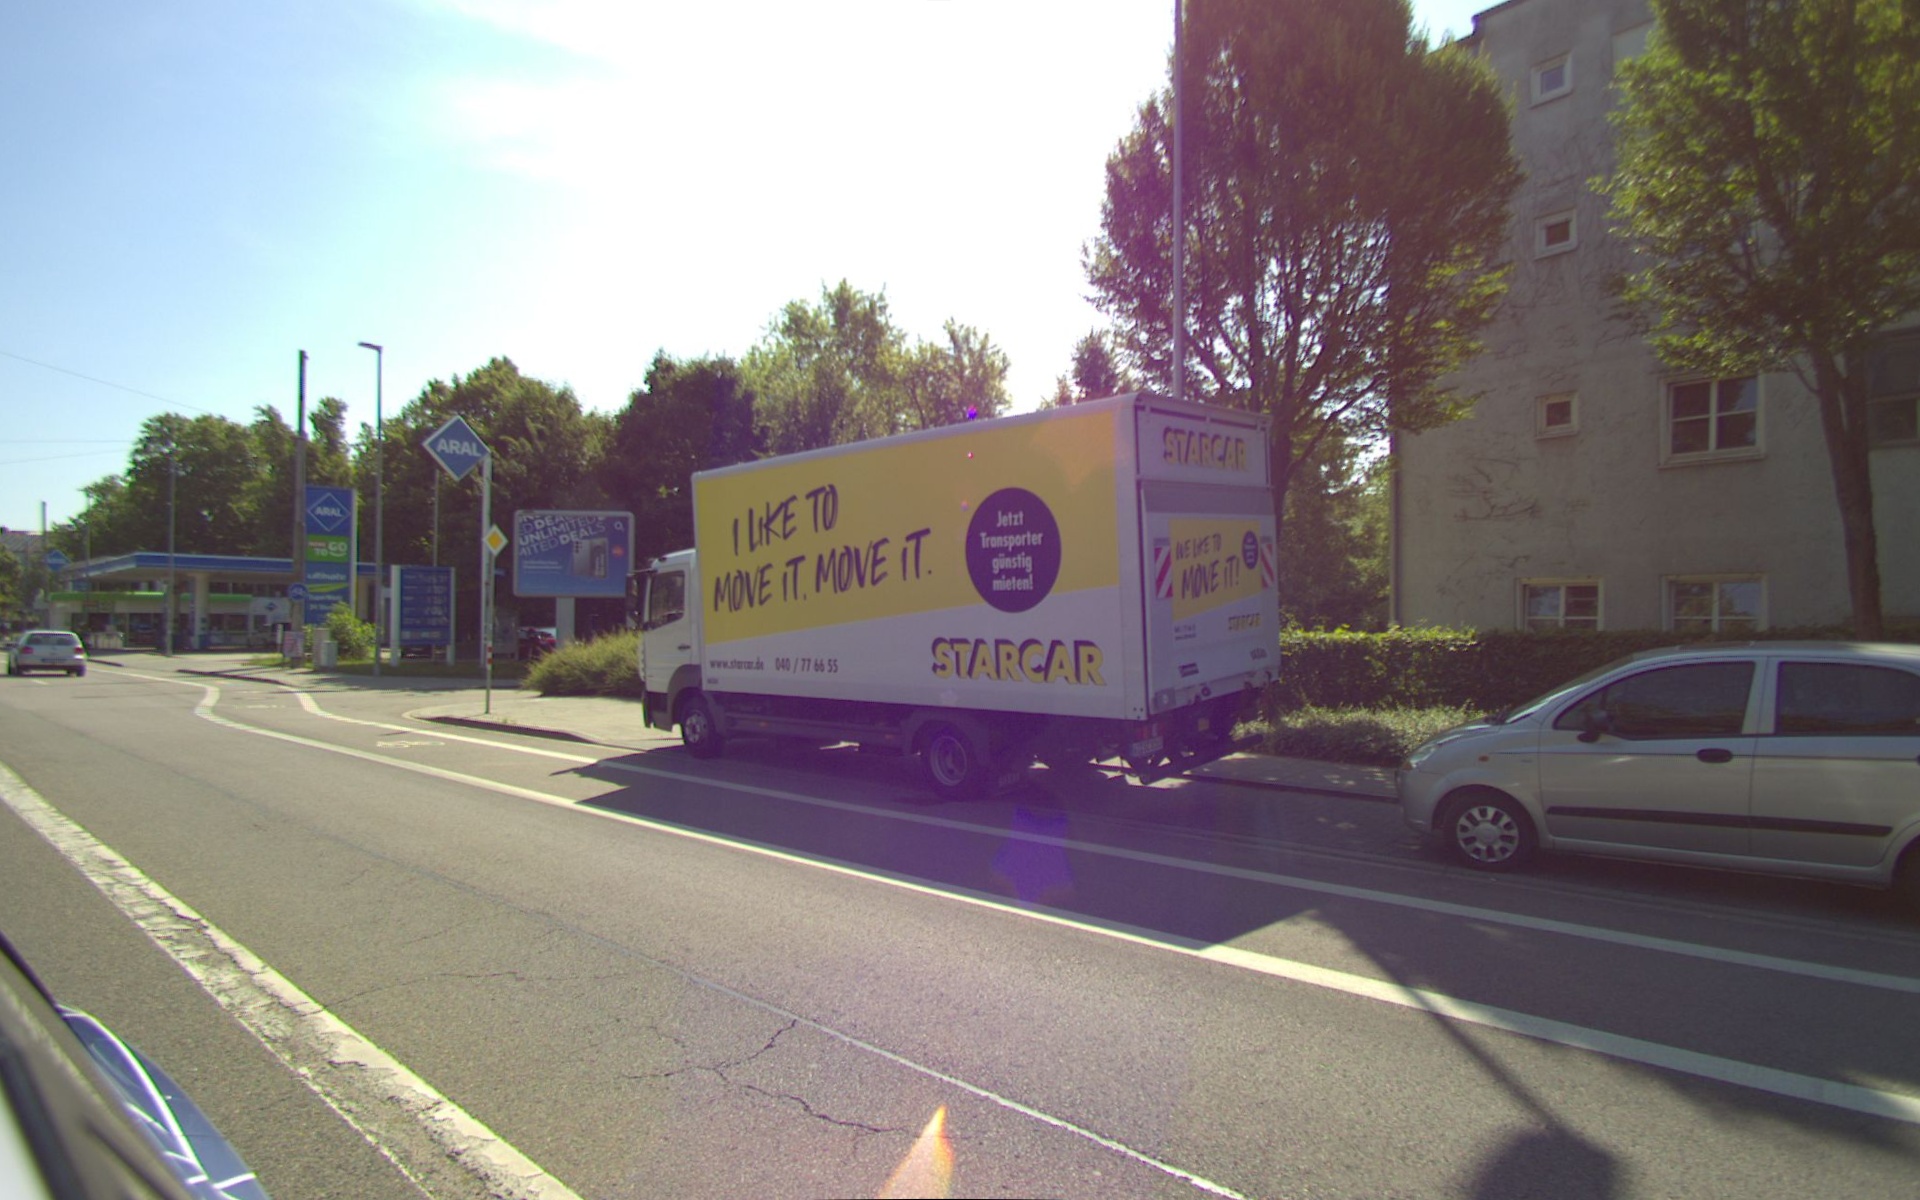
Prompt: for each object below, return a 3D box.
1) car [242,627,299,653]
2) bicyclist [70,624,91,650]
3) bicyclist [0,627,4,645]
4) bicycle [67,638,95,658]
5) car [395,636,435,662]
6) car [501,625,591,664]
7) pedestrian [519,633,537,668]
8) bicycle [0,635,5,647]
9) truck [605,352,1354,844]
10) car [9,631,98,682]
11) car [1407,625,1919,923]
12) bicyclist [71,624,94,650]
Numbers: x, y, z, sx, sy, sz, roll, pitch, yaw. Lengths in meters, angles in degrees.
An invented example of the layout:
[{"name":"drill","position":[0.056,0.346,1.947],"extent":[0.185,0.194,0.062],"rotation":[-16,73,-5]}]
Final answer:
[{"name":"car","position":[-49.584,2.884,72.695],"extent":[5.959,1.795,1.825],"rotation":[-2,-3,40]},{"name":"bicyclist","position":[-49.370,2.091,56.814],"extent":[0.832,1.447,0.837],"rotation":[-4,-3,43]},{"name":"bicyclist","position":[-94.143,3.530,98.953],"extent":[0.826,1.687,0.826],"rotation":[-4,-3,40]},{"name":"bicycle","position":[-48.884,2.653,56.290],"extent":[2.771,1.103,0.816],"rotation":[-1,-3,42]},{"name":"car","position":[-30.191,2.695,56.145],"extent":[1.774,1.356,4.257],"rotation":[1,-2,-26]},{"name":"car","position":[-17.963,1.948,43.801],"extent":[4.515,1.582,1.781],"rotation":[-3,-4,41]},{"name":"pedestrian","position":[-18.228,2.127,42.692],"extent":[0.500,1.492,0.493],"rotation":[-2,-3,41]},{"name":"bicycle","position":[-94.246,4.048,99.042],"extent":[2.211,1.184,0.927],"rotation":[-2,-3,43]},{"name":"truck","position":[-0.486,0.060,11.168],"extent":[8.587,3.557,2.639],"rotation":[-2,-1,42]},{"name":"car","position":[-27.556,1.705,30.714],"extent":[4.310,1.431,1.640],"rotation":[-2,-4,44]},{"name":"car","position":[4.931,0.929,6.291],"extent":[3.633,1.495,1.593],"rotation":[-1,-1,40]},{"name":"bicyclist","position":[-48.774,2.046,56.248],"extent":[0.833,1.447,0.837],"rotation":[-1,-3,44]}]
